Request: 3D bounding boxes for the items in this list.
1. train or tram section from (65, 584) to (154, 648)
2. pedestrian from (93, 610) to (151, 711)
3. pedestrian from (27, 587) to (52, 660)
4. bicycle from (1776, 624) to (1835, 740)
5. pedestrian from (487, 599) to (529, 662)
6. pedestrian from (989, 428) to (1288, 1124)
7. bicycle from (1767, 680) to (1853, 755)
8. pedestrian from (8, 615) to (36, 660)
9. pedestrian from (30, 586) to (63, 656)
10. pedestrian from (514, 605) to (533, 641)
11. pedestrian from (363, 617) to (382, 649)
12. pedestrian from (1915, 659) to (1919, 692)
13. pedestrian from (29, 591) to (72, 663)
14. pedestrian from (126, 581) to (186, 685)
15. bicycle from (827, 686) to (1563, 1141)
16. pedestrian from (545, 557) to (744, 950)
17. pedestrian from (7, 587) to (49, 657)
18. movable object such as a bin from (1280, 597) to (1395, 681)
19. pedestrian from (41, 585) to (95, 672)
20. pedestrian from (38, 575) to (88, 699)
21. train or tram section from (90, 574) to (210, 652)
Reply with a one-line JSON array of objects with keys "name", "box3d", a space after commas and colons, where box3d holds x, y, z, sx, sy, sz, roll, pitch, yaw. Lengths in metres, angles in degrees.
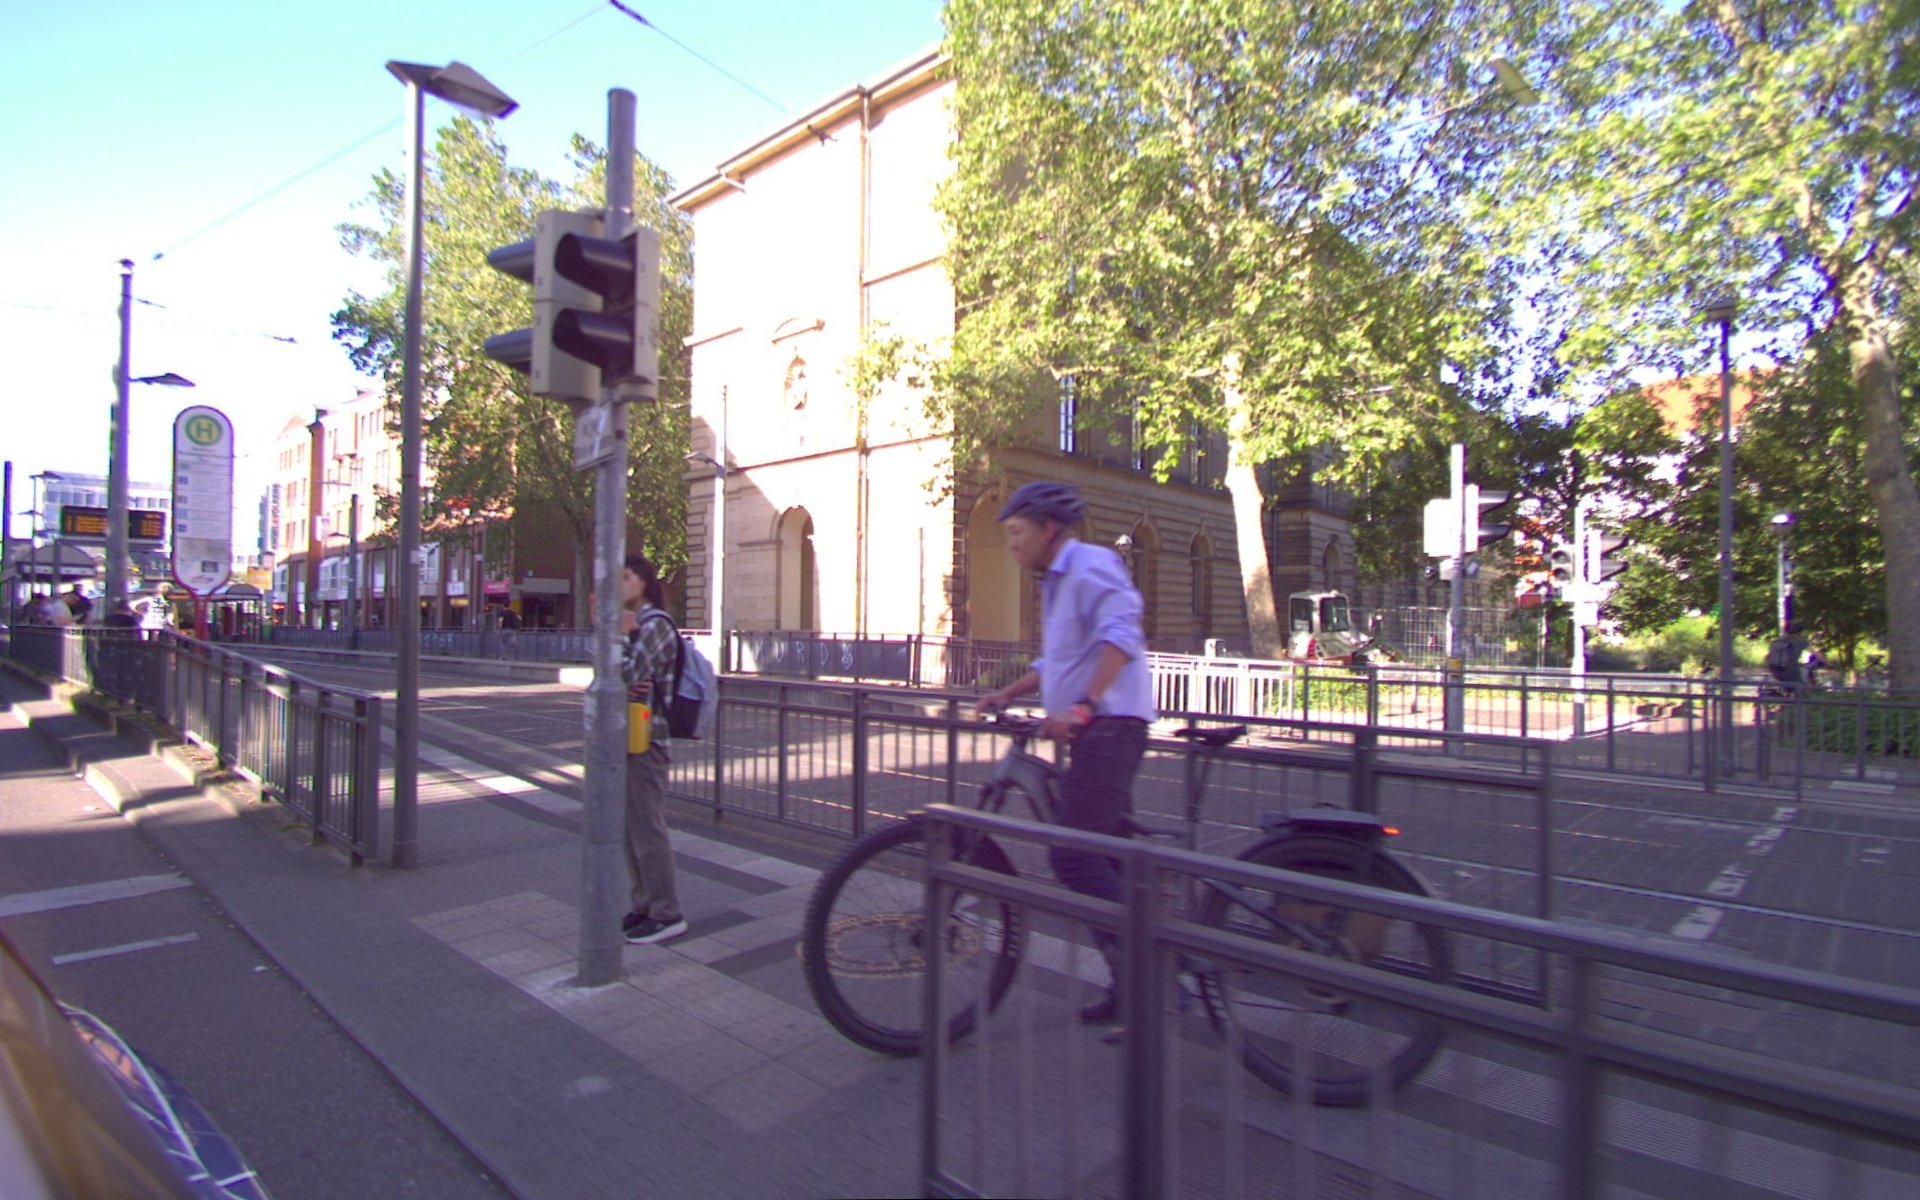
[{"name": "train or tram section", "box3d": [-54.305, 1.015, 64.432, 13.948, 3.672, 2.940, -1, -1, 44]}, {"name": "pedestrian", "box3d": [-11.374, 0.818, 13.745, 0.473, 1.339, 0.355, 1, -2, -17]}, {"name": "pedestrian", "box3d": [-21.343, 0.548, 23.465, 0.529, 1.682, 0.347, -1, -3, 42]}, {"name": "bicycle", "box3d": [12.929, 1.234, 15.492, 0.582, 1.729, 0.640, -1, -2, 33]}, {"name": "pedestrian", "box3d": [-12.394, 0.841, 27.757, 1.033, 1.680, 0.688, -1, -3, 44]}, {"name": "pedestrian", "box3d": [0.503, 0.465, 3.200, 0.585, 1.835, 0.944, 0, -1, -13]}, {"name": "bicycle", "box3d": [12.934, 1.758, 15.459, 0.645, 0.973, 2.147, -1, -2, 31]}, {"name": "pedestrian", "box3d": [-26.558, 1.055, 28.647, 0.460, 1.262, 0.534, -1, -1, 43]}, {"name": "pedestrian", "box3d": [-22.034, 0.509, 24.401, 0.590, 1.661, 0.488, -1, -3, 42]}, {"name": "pedestrian", "box3d": [-22.622, 1.189, 52.506, 0.648, 1.819, 0.679, -1, -2, 44]}, {"name": "pedestrian", "box3d": [-35.693, 2.011, 61.452, 0.665, 1.931, 0.781, -1, -3, 42]}, {"name": "pedestrian", "box3d": [30.342, 2.328, 31.170, 1.269, 1.002, 1.234, -1, -3, 41]}, {"name": "pedestrian", "box3d": [-22.839, 0.684, 25.407, 0.748, 1.765, 0.682, -1, -3, 42]}, {"name": "pedestrian", "box3d": [-13.836, 0.563, 17.418, 0.753, 1.748, 0.591, 2, -3, -40]}, {"name": "bicycle", "box3d": [0.618, 0.831, 3.034, 1.924, 1.102, 0.597, -1, -1, 11]}, {"name": "pedestrian", "box3d": [-1.406, 0.623, 4.517, 0.665, 1.602, 0.513, -1, 1, 34]}, {"name": "pedestrian", "box3d": [-24.197, 0.574, 26.273, 0.748, 1.778, 0.682, -1, -3, 42]}, {"name": "movable object such as a bin", "box3d": [9.539, 0.984, 25.565, 2.604, 2.029, 1.179, 2, -2, -23]}, {"name": "pedestrian", "box3d": [-19.340, 0.606, 21.949, 0.803, 1.845, 0.762, 0, -1, 40]}, {"name": "pedestrian", "box3d": [-15.944, 0.656, 17.990, 0.808, 2.136, 0.532, -1, -3, 43]}, {"name": "train or tram section", "box3d": [-43.480, 0.812, 53.981, 16.489, 3.672, 2.940, -2, -2, 44]}]
